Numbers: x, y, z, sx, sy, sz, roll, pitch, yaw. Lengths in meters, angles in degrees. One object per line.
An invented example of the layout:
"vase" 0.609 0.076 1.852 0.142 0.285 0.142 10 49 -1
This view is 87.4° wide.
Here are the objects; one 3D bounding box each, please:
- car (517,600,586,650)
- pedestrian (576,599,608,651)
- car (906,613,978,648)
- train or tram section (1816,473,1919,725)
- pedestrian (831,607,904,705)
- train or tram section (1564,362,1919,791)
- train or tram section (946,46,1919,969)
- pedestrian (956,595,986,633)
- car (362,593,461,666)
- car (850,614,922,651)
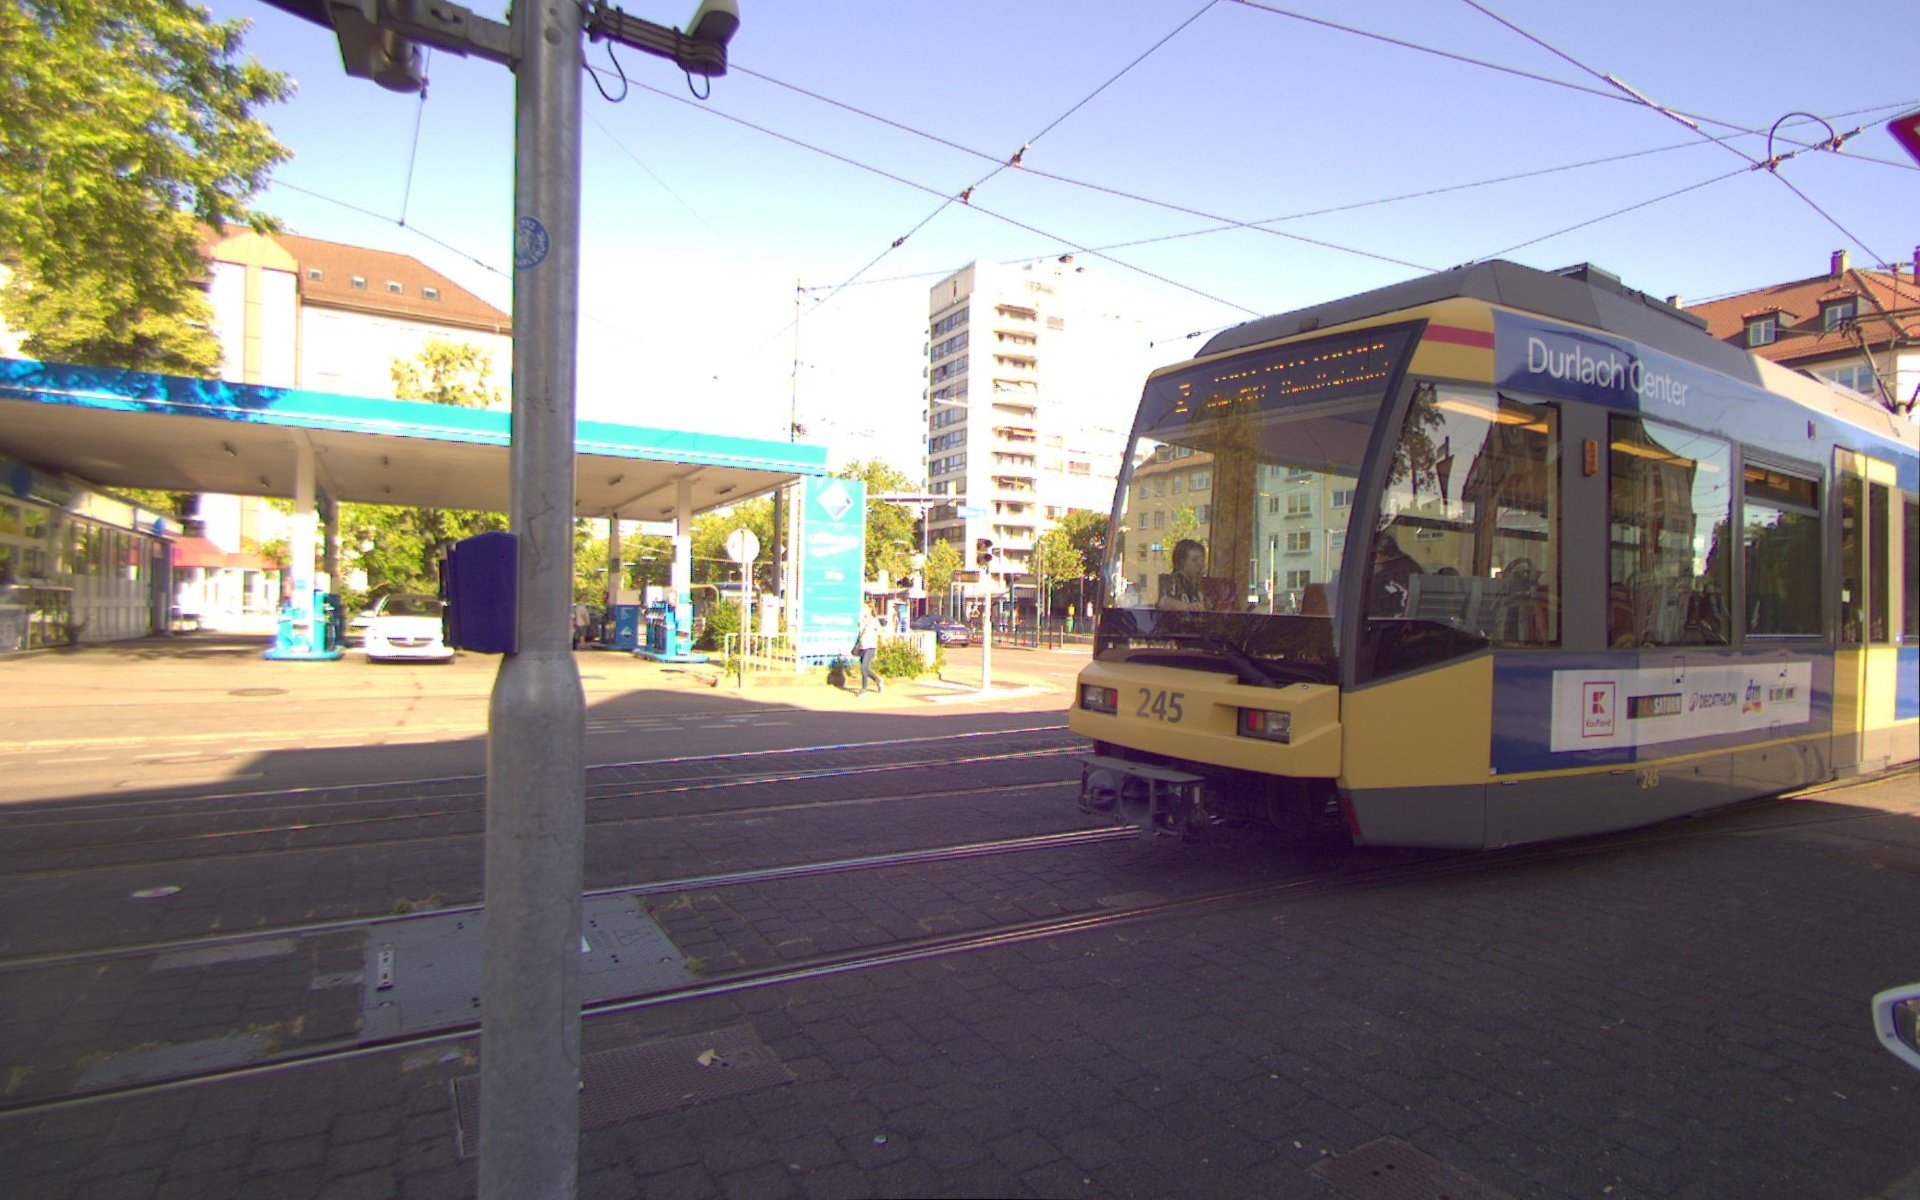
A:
"car" -13.457 0.803 33.006 1.725 1.431 4.061 5 -2 -26
"pedestrian" -11.758 0.796 32.073 0.802 1.647 1.156 1 -1 -26
"car" -0.900 1.458 48.292 1.863 1.601 3.971 1 -1 -28
"train or tram section" 17.658 0.098 18.486 2.739 3.546 11.967 0 -1 41
"pedestrian" -1.618 0.960 17.657 0.704 1.641 1.102 0 -1 37
"train or tram section" 10.627 -0.111 11.836 8.375 3.546 2.797 1 -1 -34
"train or tram section" 3.957 -0.279 7.232 7.879 3.546 2.798 1 -1 -34
"pedestrian" 0.554 0.727 51.225 1.156 1.870 1.098 2 -1 -28
"car" -12.304 0.634 22.504 1.760 1.483 3.968 1 -1 -30
"car" -3.488 1.493 46.731 1.863 1.601 3.971 1 -1 -28
